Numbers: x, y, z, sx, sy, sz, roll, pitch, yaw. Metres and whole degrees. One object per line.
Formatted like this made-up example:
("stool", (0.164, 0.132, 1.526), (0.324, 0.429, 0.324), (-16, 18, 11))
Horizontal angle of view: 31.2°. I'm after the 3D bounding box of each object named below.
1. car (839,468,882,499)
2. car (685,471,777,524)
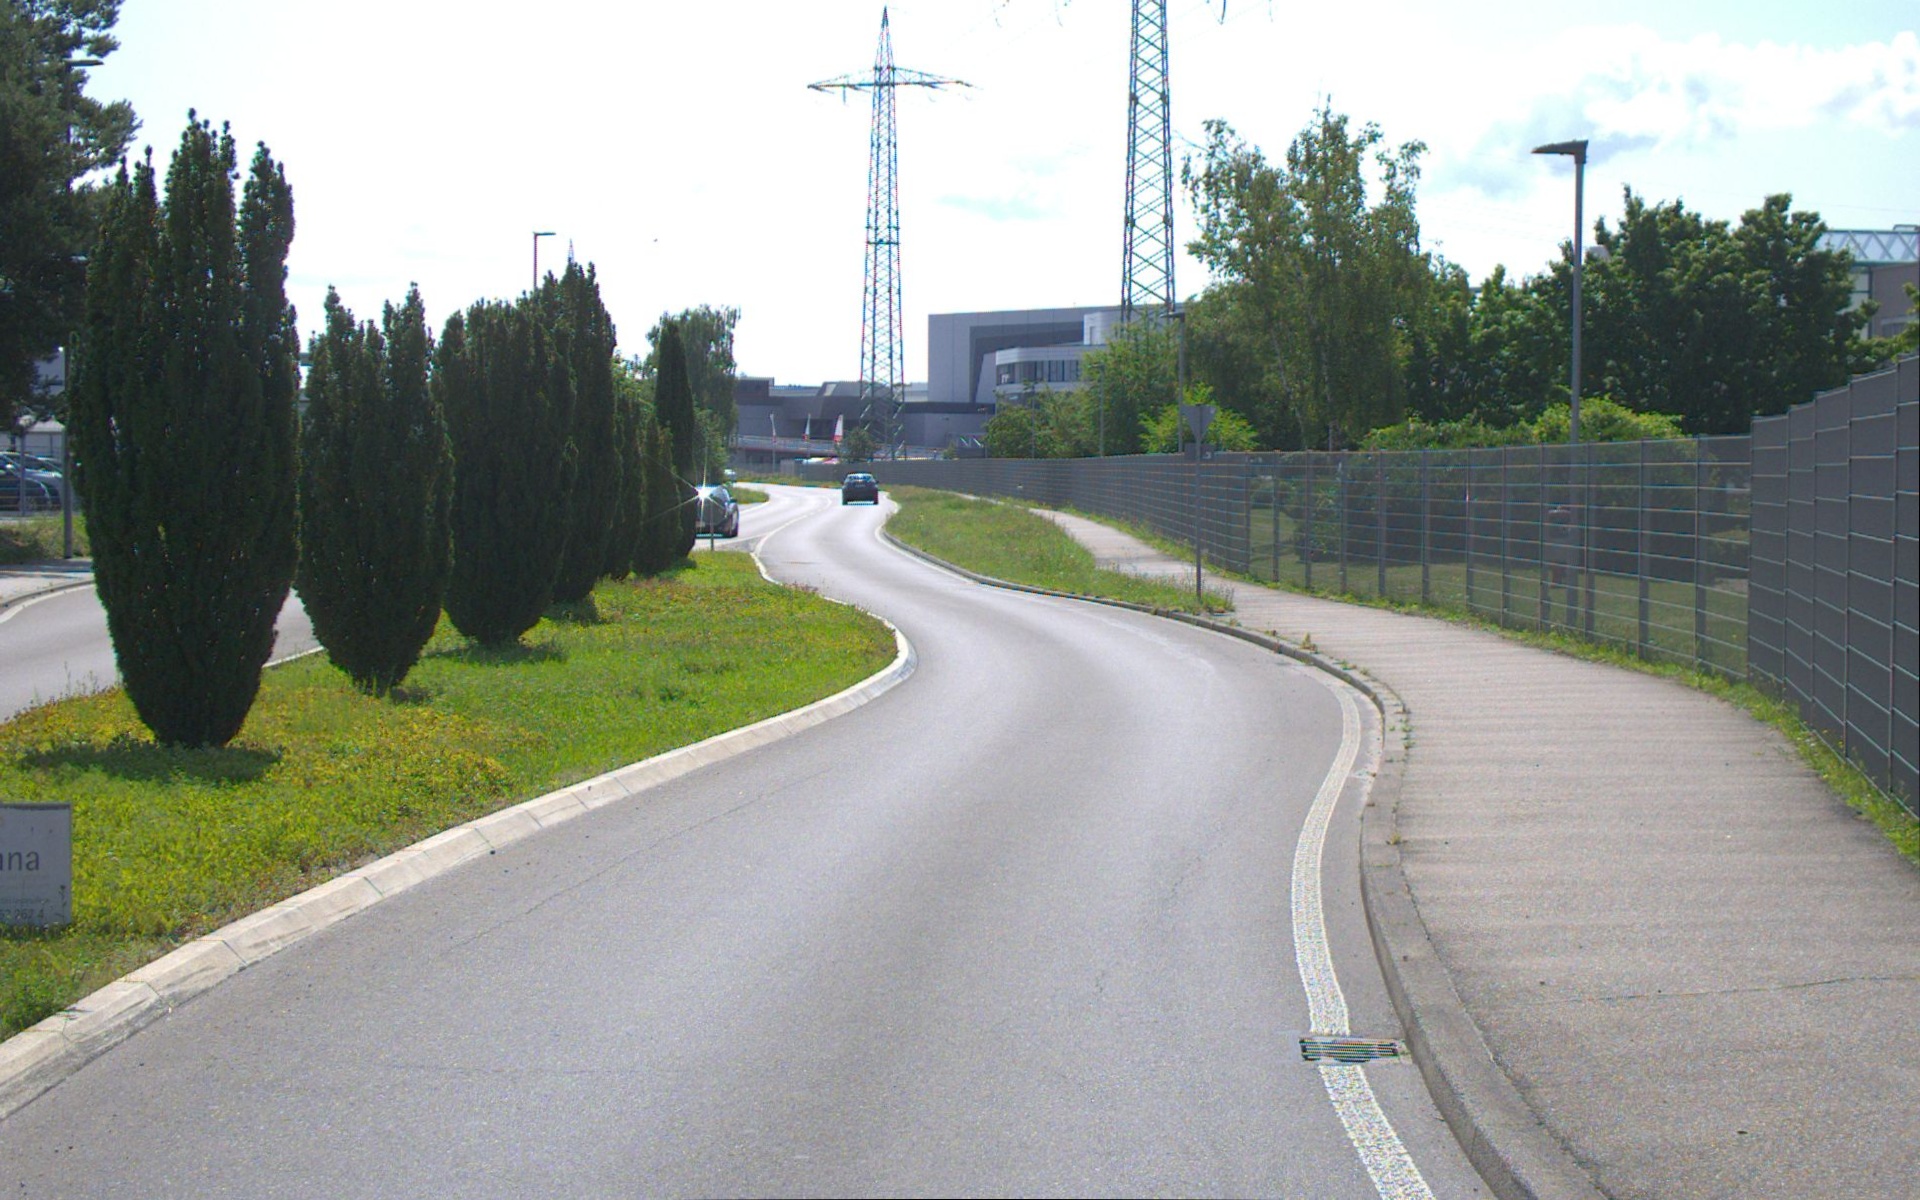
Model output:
("car", (-5.007, -5.861, 172.773), (2.012, 1.503, 4.001), (0, 2, -4))
("car", (-6.276, -2.839, 94.565), (1.899, 1.389, 4.865), (1, 2, 4))
